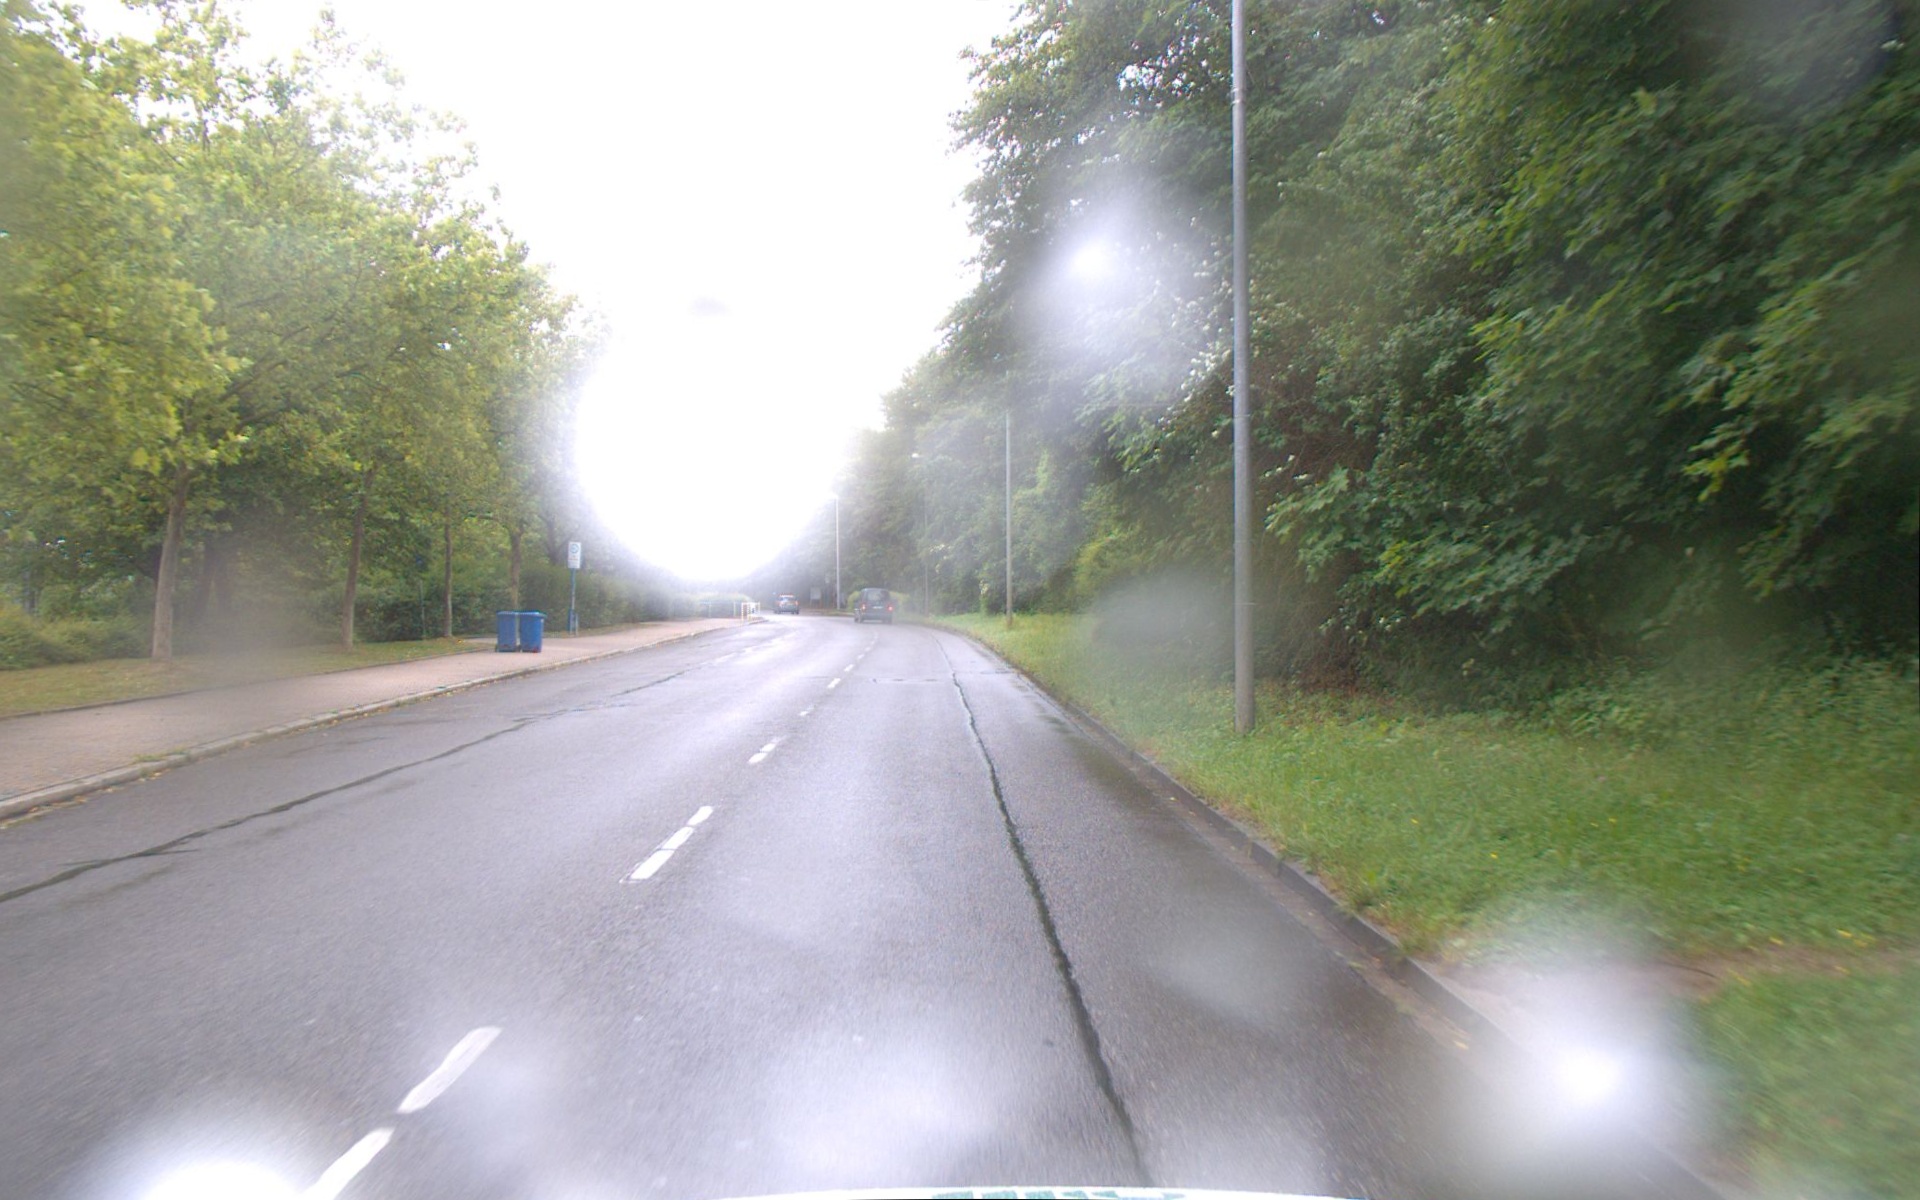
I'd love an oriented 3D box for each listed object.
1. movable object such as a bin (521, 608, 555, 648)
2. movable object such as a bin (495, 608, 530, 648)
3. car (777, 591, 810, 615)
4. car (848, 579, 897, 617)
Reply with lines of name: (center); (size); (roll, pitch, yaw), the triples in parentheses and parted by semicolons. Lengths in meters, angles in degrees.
movable object such as a bin: (-11.540, 0.768, 45.228); (0.660, 1.044, 0.825); (-3, 1, -33)
movable object such as a bin: (-12.144, 0.748, 44.855); (0.660, 1.044, 0.825); (-3, 1, -33)
car: (-13.276, 0.239, 131.650); (1.961, 1.803, 3.982); (-1, 1, -16)
car: (-4.713, -0.130, 88.257); (1.959, 1.825, 3.988); (2, 1, -12)
